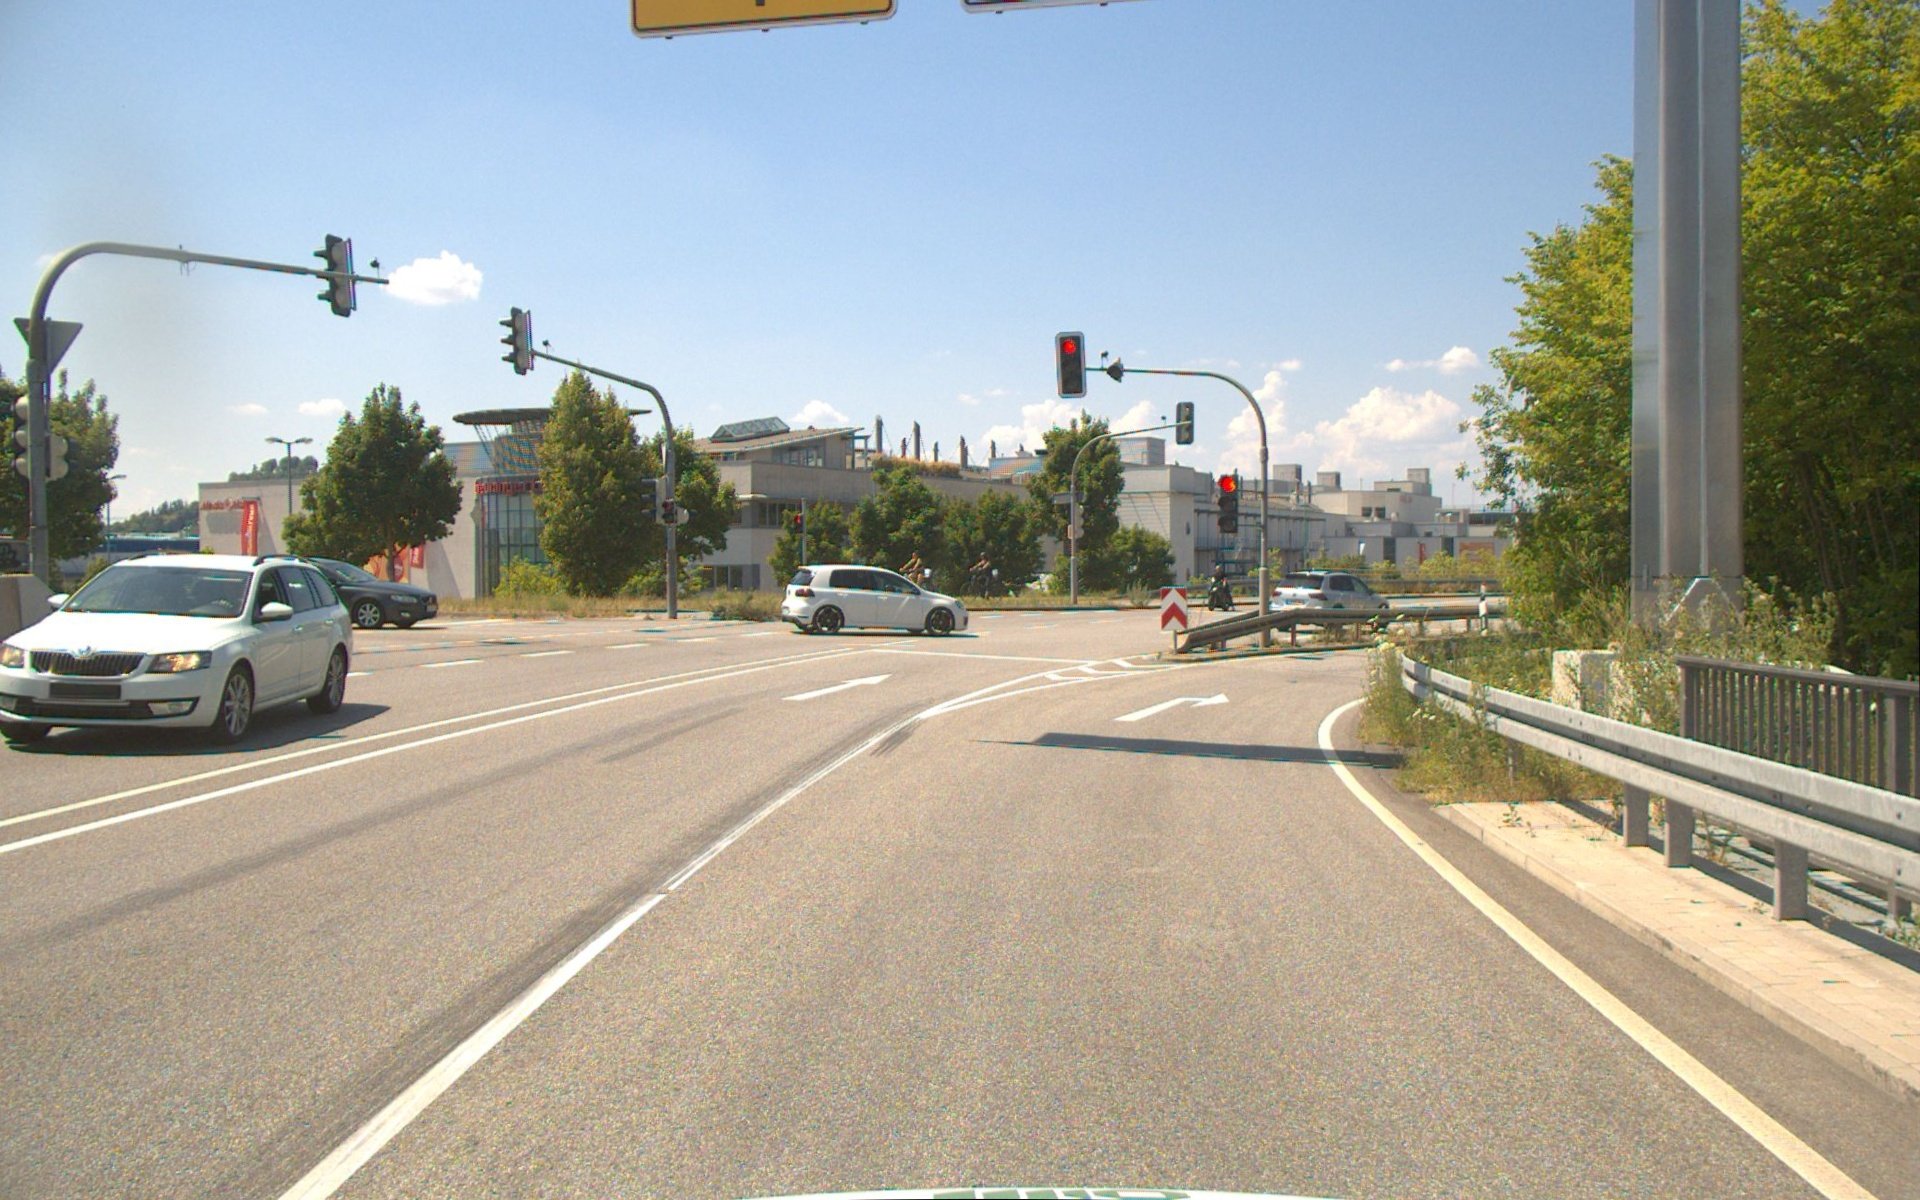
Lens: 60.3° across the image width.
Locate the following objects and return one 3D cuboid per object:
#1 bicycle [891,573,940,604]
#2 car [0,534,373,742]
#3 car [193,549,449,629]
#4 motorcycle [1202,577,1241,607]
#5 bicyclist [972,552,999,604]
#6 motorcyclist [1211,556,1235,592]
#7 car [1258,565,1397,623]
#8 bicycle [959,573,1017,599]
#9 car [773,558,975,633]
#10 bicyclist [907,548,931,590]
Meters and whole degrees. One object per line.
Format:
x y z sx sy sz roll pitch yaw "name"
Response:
-1.522 -0.390 56.831 1.816 1.042 0.409 0 2 -42 "bicycle"
-6.584 0.234 14.404 1.753 1.521 4.546 0 1 -6 "car"
-13.227 -0.232 34.412 4.625 1.572 1.736 1 1 -3 "car"
9.697 -0.306 61.289 0.552 1.099 2.278 0 1 33 "motorcycle"
0.895 -0.764 57.572 0.722 1.747 0.525 1 2 -35 "bicyclist"
9.759 -0.954 61.373 0.662 1.325 0.721 -1 0 33 "motorcyclist"
10.262 -0.170 45.994 1.964 1.532 4.371 -1 0 41 "car"
0.979 -0.484 57.650 2.102 0.867 0.529 1 2 -36 "bicycle"
-1.909 -0.103 36.365 4.059 1.512 1.990 1 1 -19 "car"
-1.401 -1.077 56.923 0.679 1.428 0.402 1 1 -43 "bicyclist"
